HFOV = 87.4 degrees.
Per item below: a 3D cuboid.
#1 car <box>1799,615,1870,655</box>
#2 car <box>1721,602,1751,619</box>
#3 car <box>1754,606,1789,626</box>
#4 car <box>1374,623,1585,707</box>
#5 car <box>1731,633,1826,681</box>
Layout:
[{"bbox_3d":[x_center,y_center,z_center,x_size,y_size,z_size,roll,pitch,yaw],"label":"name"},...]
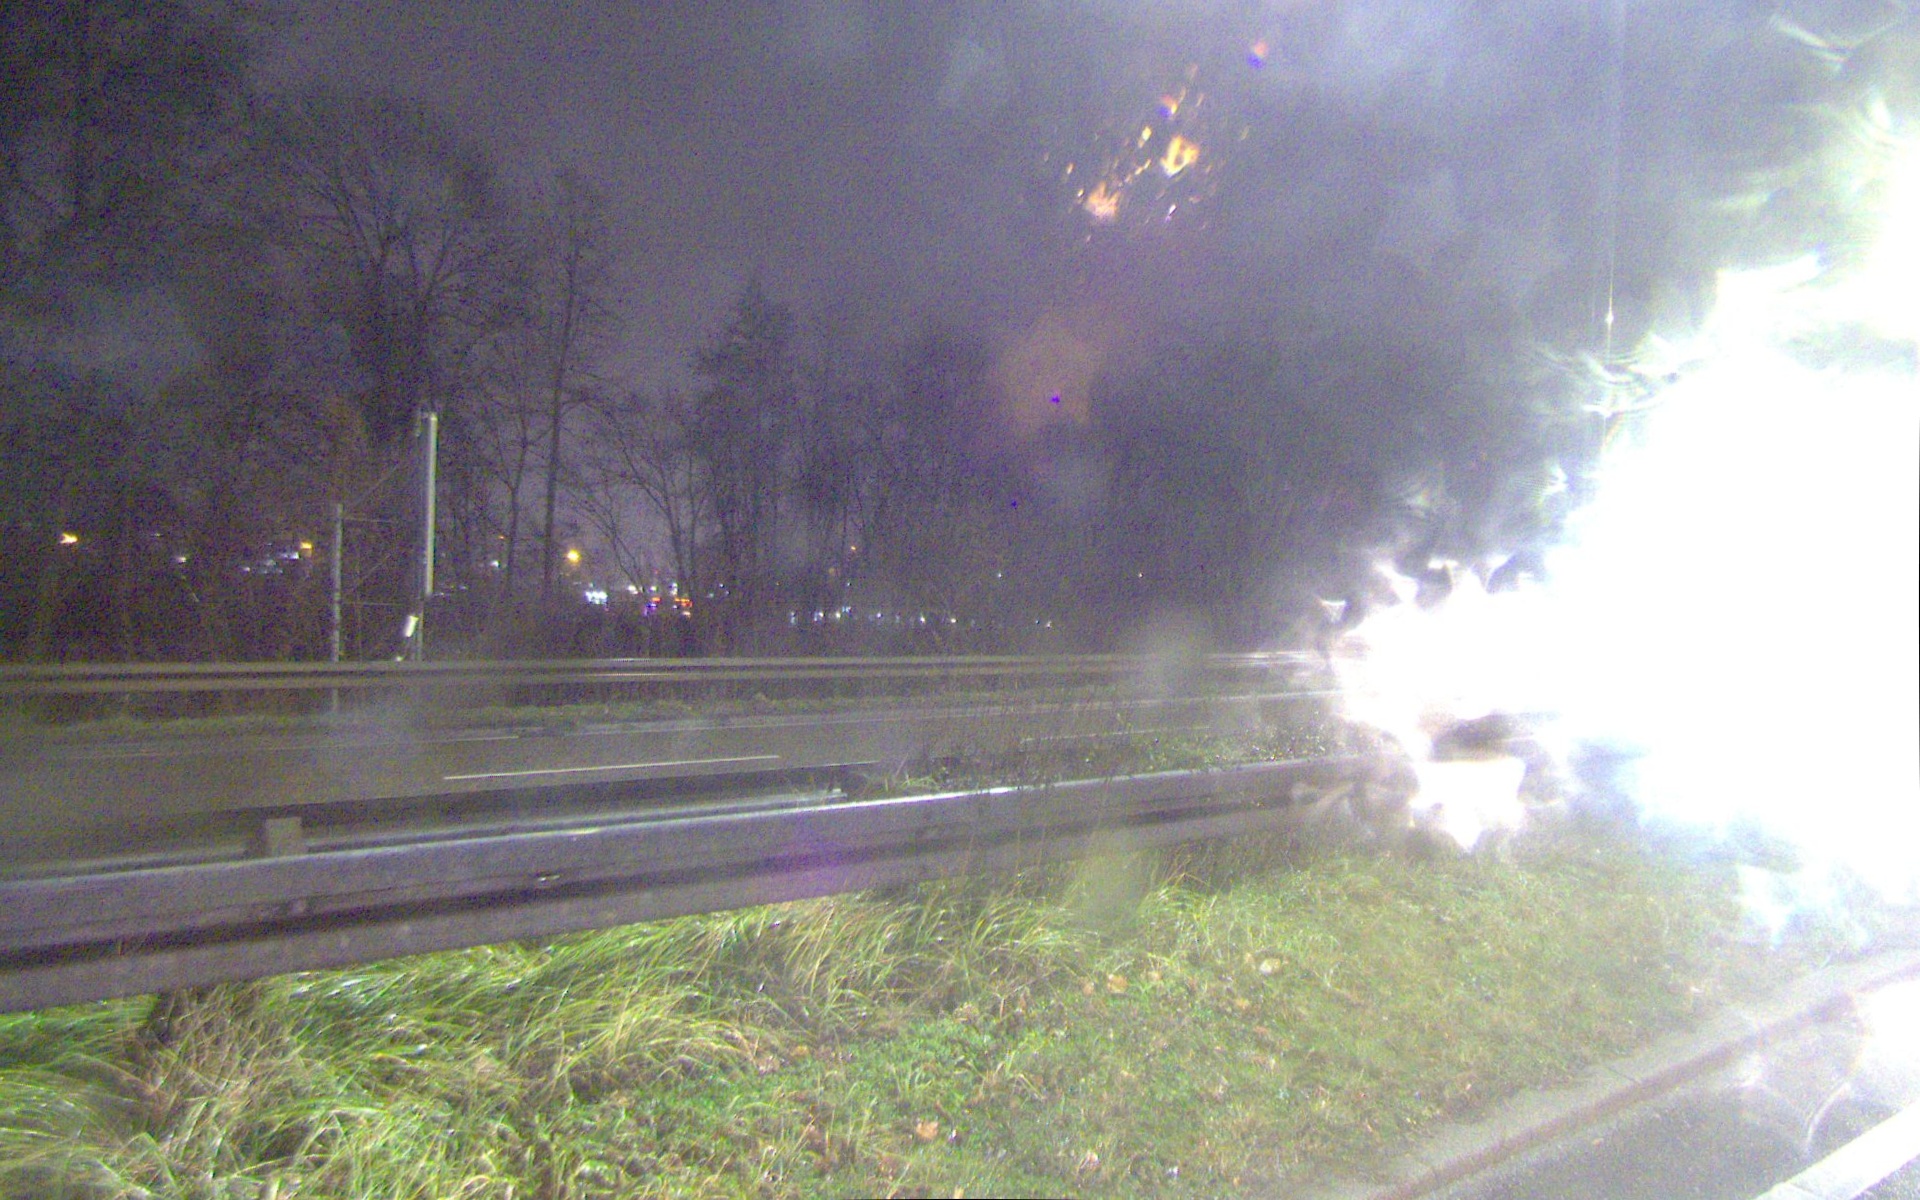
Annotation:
[{"bbox_3d":[38.267,1.519,43.925,4.217,1.629,1.852,2,-1,-42],"label":"car"},{"bbox_3d":[71.203,0.976,92.170,1.716,1.522,3.991,2,0,32],"label":"car"},{"bbox_3d":[64.984,1.277,80.450,1.775,1.502,3.805,2,0,34],"label":"car"},{"bbox_3d":[10.817,1.284,20.788,4.794,1.528,1.980,2,-1,-37],"label":"car"},{"bbox_3d":[27.199,1.847,33.324,4.630,1.442,1.697,2,-2,-41],"label":"car"}]
